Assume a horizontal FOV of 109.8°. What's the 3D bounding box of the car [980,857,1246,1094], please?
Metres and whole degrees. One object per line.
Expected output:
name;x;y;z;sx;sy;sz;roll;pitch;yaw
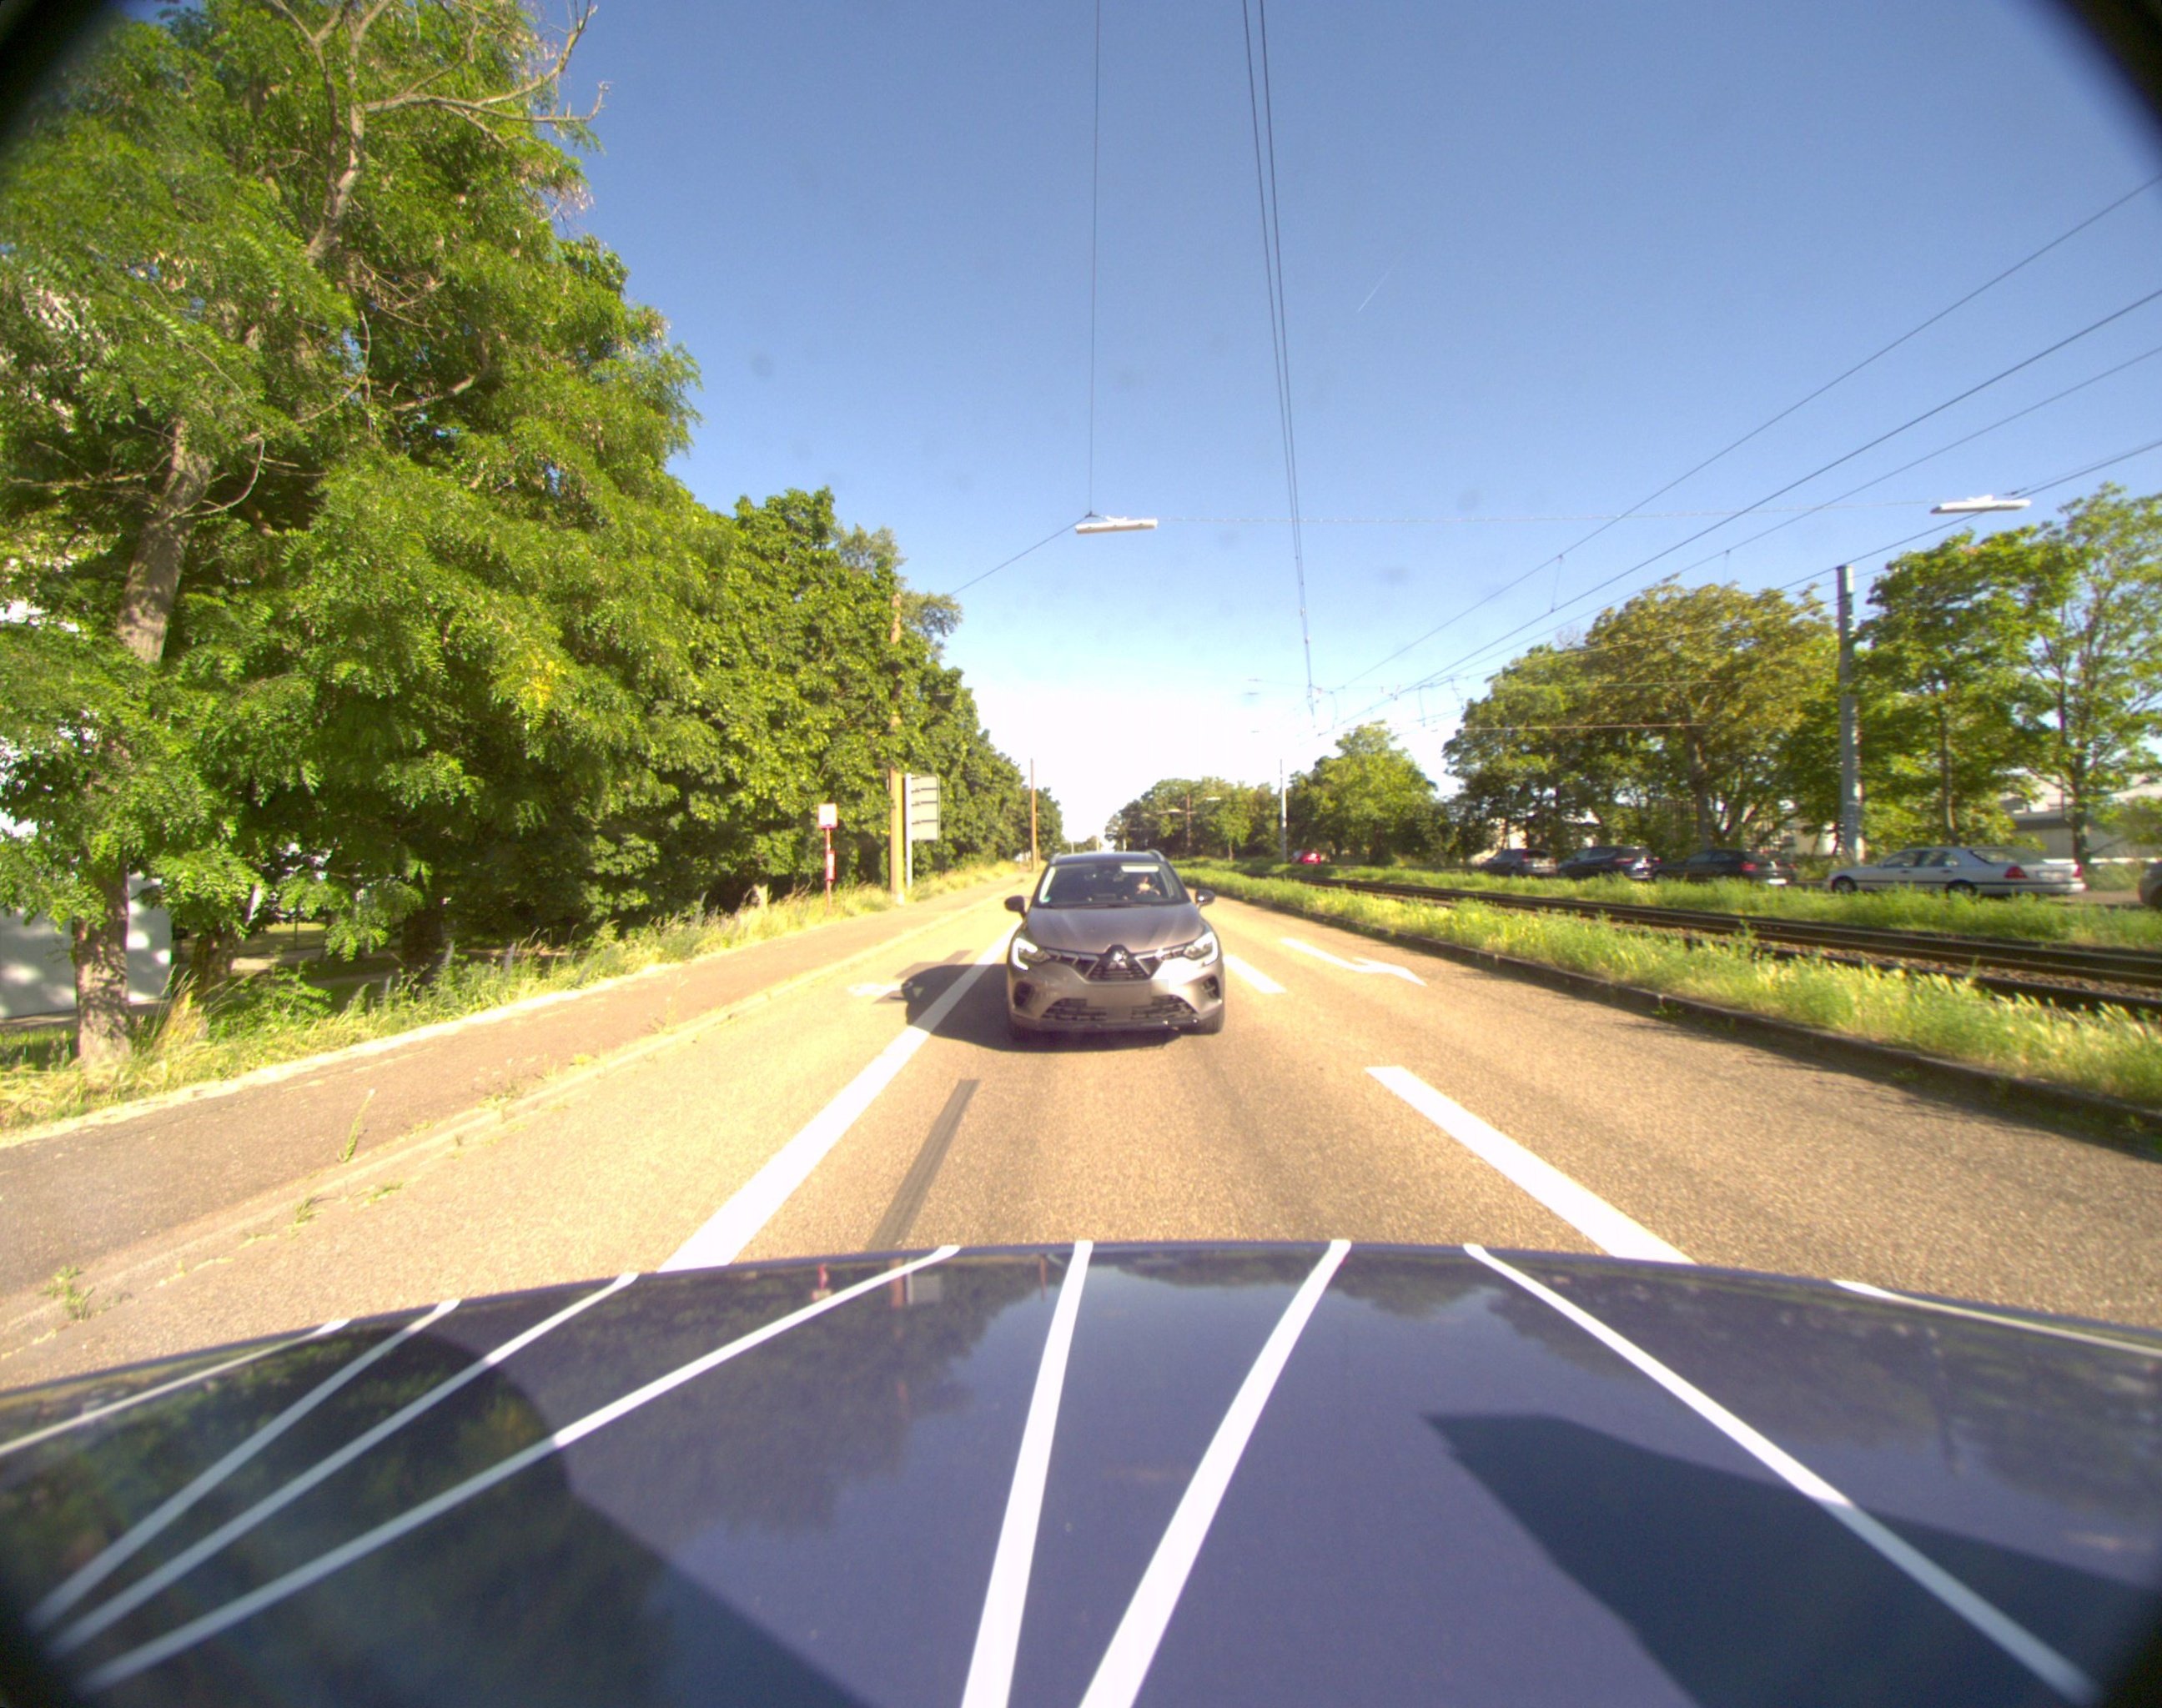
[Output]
car;0.238;0.876;7.604;1.822;1.589;4.413;-2;0;0

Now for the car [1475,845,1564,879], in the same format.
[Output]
car;21.469;0.358;37.437;1.740;1.486;4.327;-3;1;-1

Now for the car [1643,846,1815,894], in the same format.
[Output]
car;21.395;0.490;25.369;1.998;1.429;4.415;-1;0;1

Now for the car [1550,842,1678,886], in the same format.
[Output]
car;21.361;0.384;30.728;1.999;1.565;4.434;-1;0;-1

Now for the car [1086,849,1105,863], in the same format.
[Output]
car;1.667;0.226;90.858;1.999;1.577;3.999;-2;0;-2

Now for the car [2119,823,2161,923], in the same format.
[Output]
car;21.275;0.330;12.402;2.202;1.880;4.792;-2;0;3

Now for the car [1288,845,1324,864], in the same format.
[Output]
car;20.985;0.030;71.113;2.009;1.692;4.466;-1;0;-1

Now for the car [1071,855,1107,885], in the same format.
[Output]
car;0.433;0.838;41.029;1.832;1.477;4.000;-1;0;1

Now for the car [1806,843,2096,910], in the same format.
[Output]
car;21.388;0.507;19.066;1.933;1.429;4.695;-1;0;1
